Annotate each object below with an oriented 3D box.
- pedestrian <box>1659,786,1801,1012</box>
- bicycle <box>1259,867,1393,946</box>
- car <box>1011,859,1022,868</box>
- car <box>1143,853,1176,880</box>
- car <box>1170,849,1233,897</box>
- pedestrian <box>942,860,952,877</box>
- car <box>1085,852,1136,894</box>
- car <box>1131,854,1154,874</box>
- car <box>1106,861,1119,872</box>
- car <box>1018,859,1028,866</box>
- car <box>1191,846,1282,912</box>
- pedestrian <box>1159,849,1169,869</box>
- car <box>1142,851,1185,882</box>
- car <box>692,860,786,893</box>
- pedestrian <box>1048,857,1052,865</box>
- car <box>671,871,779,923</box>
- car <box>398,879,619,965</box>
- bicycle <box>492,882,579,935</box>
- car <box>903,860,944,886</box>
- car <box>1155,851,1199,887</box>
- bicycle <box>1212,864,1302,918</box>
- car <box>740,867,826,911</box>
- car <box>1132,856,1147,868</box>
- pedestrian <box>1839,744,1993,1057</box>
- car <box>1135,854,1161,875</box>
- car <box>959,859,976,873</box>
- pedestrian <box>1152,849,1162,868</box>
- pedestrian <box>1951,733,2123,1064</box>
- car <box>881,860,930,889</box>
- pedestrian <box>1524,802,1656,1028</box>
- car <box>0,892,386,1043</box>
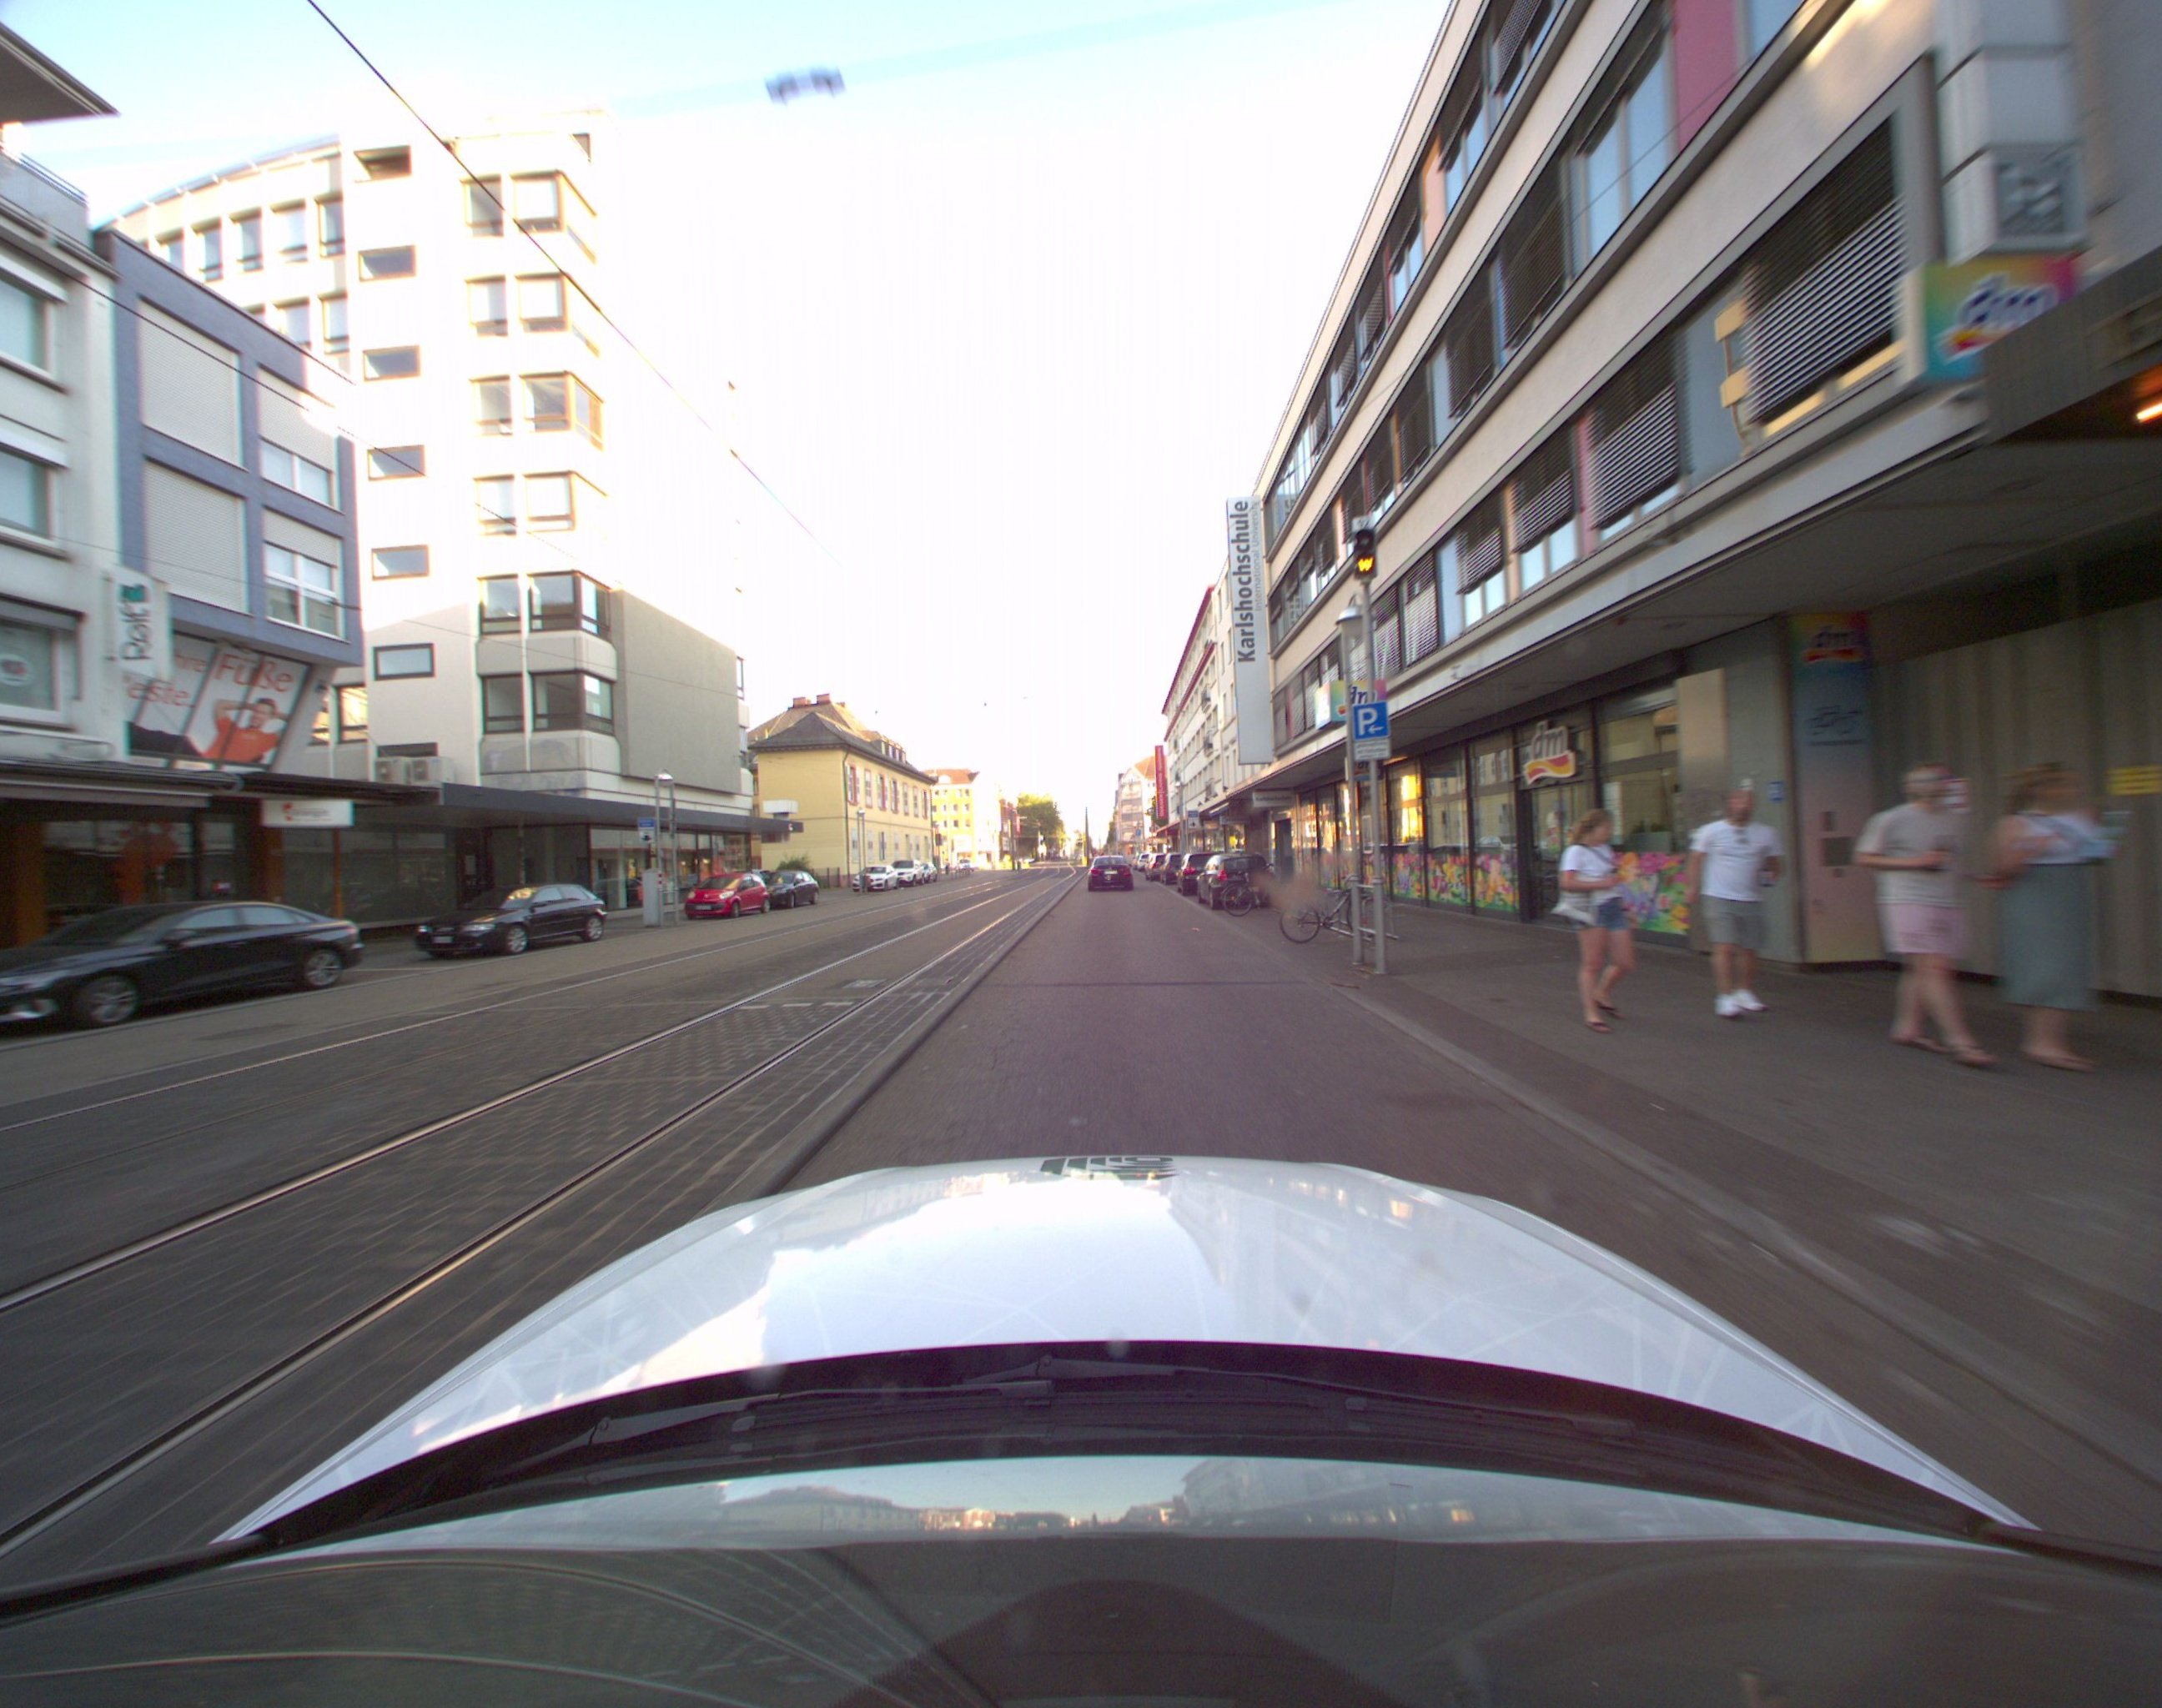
[{"bbox_3d":[5.309,0.354,6.695,0.606,1.753,0.605,-3,0,1],"label":"pedestrian"},{"bbox_3d":[3.919,0.828,13.095,1.880,1.077,0.676,-5,0,-2],"label":"bicycle"},{"bbox_3d":[-14.246,2.098,179.824,1.988,1.901,4.809,-2,0,-1],"label":"car"},{"bbox_3d":[4.847,0.736,50.804,1.728,1.512,4.305,-4,0,2],"label":"car"},{"bbox_3d":[4.266,0.634,29.341,1.714,1.512,4.169,-4,0,2],"label":"car"},{"bbox_3d":[-13.319,1.421,81.002,0.729,1.584,0.954,-2,-1,-3],"label":"pedestrian"},{"bbox_3d":[1.230,0.752,34.641,1.986,1.585,4.001,-3,0,1],"label":"car"},{"bbox_3d":[5.232,0.829,70.111,1.728,1.512,4.688,-4,0,2],"label":"car"},{"bbox_3d":[4.929,1.938,127.444,1.805,1.512,4.436,-3,0,3],"label":"car"},{"bbox_3d":[-13.478,1.937,189.985,1.988,1.585,4.585,-3,0,-1],"label":"car"},{"bbox_3d":[4.145,0.622,22.286,1.737,1.512,4.260,-4,0,2],"label":"car"},{"bbox_3d":[7.745,0.464,76.197,0.726,1.741,0.863,-4,0,2],"label":"pedestrian"},{"bbox_3d":[4.418,0.642,44.313,1.784,1.512,4.712,-4,0,0],"label":"car"},{"bbox_3d":[-17.537,1.140,41.857,3.970,1.467,1.848,-3,0,3],"label":"car"},{"bbox_3d":[-7.871,1.841,204.767,0.984,2.014,0.726,-1,-1,0],"label":"pedestrian"},{"bbox_3d":[-12.058,1.407,27.881,1.679,1.512,4.217,-1,0,2],"label":"car"},{"bbox_3d":[-12.395,1.387,18.053,1.680,1.512,4.446,-1,0,1],"label":"car"},{"bbox_3d":[-16.131,1.608,24.120,1.962,1.425,0.834,-3,0,0],"label":"bicycle"},{"bbox_3d":[-11.182,1.318,58.040,1.805,1.617,4.219,-3,0,3],"label":"car"},{"bbox_3d":[4.503,0.699,38.639,1.679,1.512,4.037,-4,0,2],"label":"car"},{"bbox_3d":[4.055,0.838,18.845,1.880,1.138,0.676,-3,0,-2],"label":"bicycle"},{"bbox_3d":[-11.811,1.340,32.581,1.679,1.512,4.217,-3,0,2],"label":"car"},{"bbox_3d":[8.357,1.109,116.888,1.986,1.552,4.002,-3,0,2],"label":"car"},{"bbox_3d":[5.302,0.284,5.191,0.453,1.899,0.421,-3,0,1],"label":"pedestrian"},{"bbox_3d":[5.288,0.803,64.962,1.778,1.512,4.053,-4,0,2],"label":"car"},{"bbox_3d":[-13.430,1.398,96.672,1.804,1.512,4.027,-2,0,-6],"label":"car"},{"bbox_3d":[7.245,0.414,77.440,0.824,1.718,0.843,-4,0,2],"label":"pedestrian"},{"bbox_3d":[5.770,0.255,4.934,0.450,1.899,0.421,-3,0,1],"label":"pedestrian"},{"bbox_3d":[-11.225,1.288,52.384,1.804,1.786,4.503,0,0,5],"label":"car"},{"bbox_3d":[4.124,0.473,6.642,0.602,1.727,0.646,-3,0,1],"label":"pedestrian"},{"bbox_3d":[-12.650,1.393,11.330,1.986,1.466,4.558,-1,0,1],"label":"car"}]
